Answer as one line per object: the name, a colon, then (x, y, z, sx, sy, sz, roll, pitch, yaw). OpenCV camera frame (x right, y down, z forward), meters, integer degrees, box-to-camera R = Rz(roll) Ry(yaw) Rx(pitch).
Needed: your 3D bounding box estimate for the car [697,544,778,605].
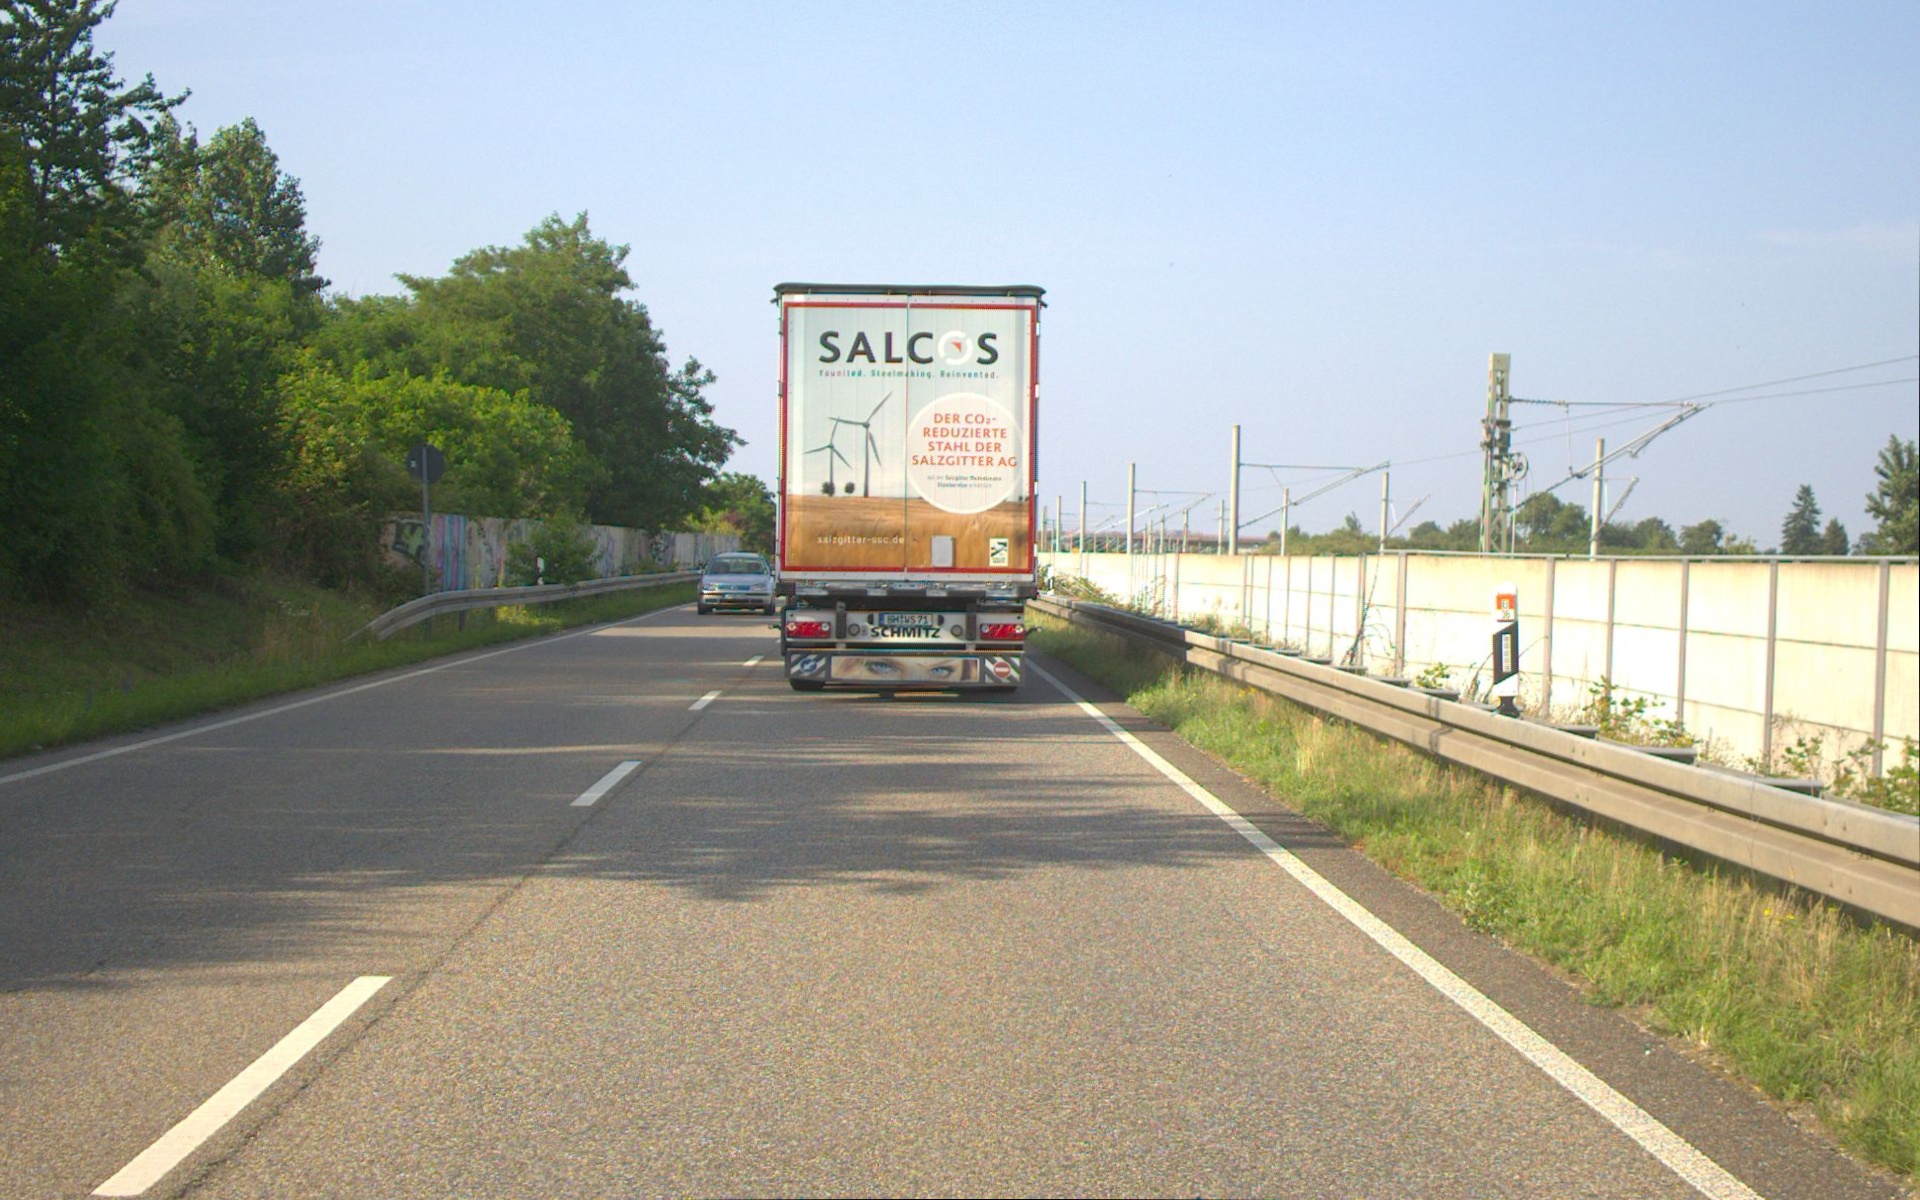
car: (-5.168, -0.599, 80.304, 1.719, 1.389, 4.361, 0, 1, -1)

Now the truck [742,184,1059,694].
truck: (-0.822, -1.675, 39.042, 3.033, 4.903, 11.686, 0, 1, -2)
